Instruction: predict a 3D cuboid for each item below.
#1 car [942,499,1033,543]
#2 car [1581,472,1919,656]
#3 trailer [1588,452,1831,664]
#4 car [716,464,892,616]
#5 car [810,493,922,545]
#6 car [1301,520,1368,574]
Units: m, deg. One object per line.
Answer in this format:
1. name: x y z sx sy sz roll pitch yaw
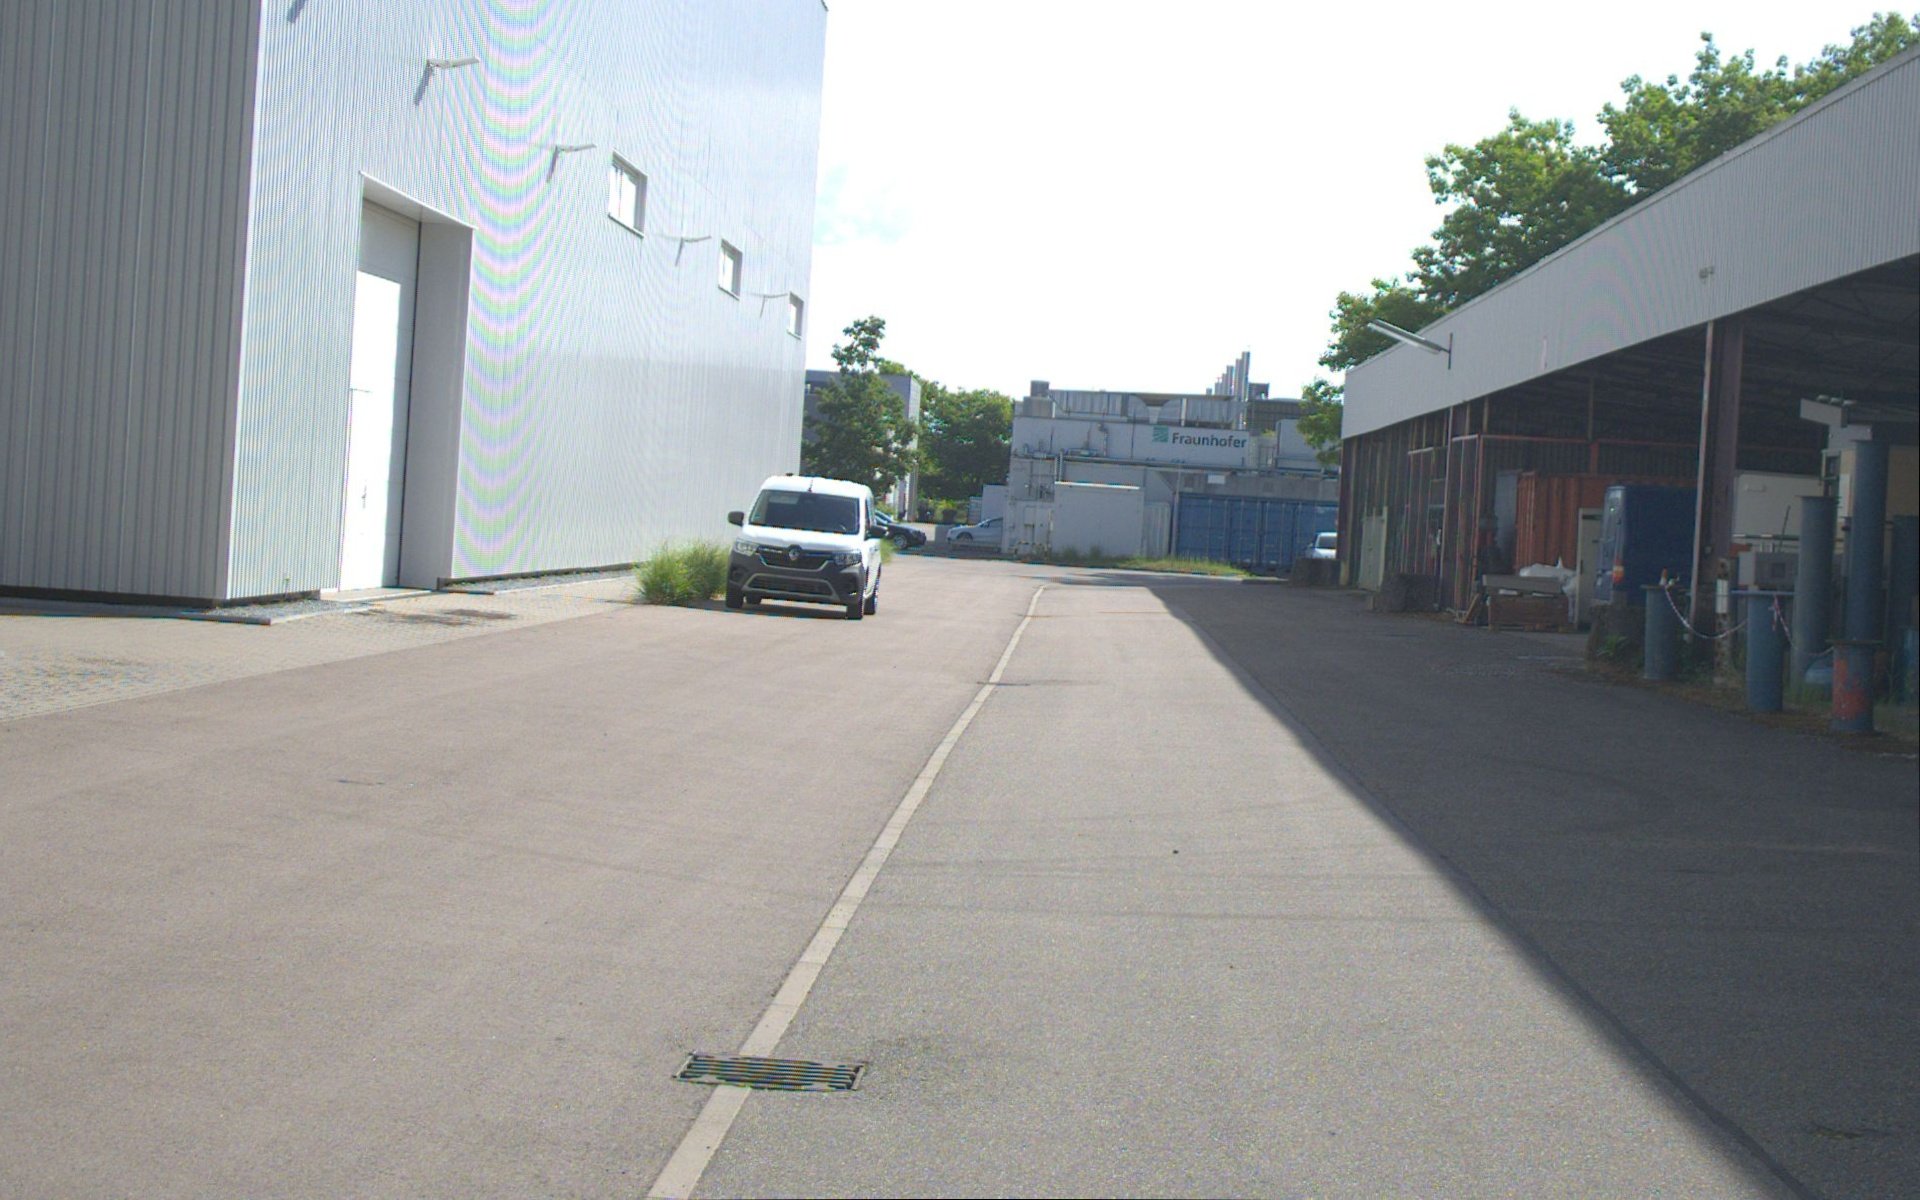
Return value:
1. car: 1.273 -3.585 155.969 3.987 1.592 1.848 5 0 1
2. car: 11.596 -0.508 50.695 4.433 2.301 1.915 5 0 3
3. trailer: 9.128 -0.510 42.005 2.524 2.390 1.727 3 1 3
4. car: -2.031 -0.832 45.943 1.819 1.781 4.405 5 2 2
5. car: -3.509 -3.016 128.274 3.987 1.592 1.741 5 0 1
6. car: 12.529 -1.791 115.177 1.962 1.559 4.058 5 2 4
